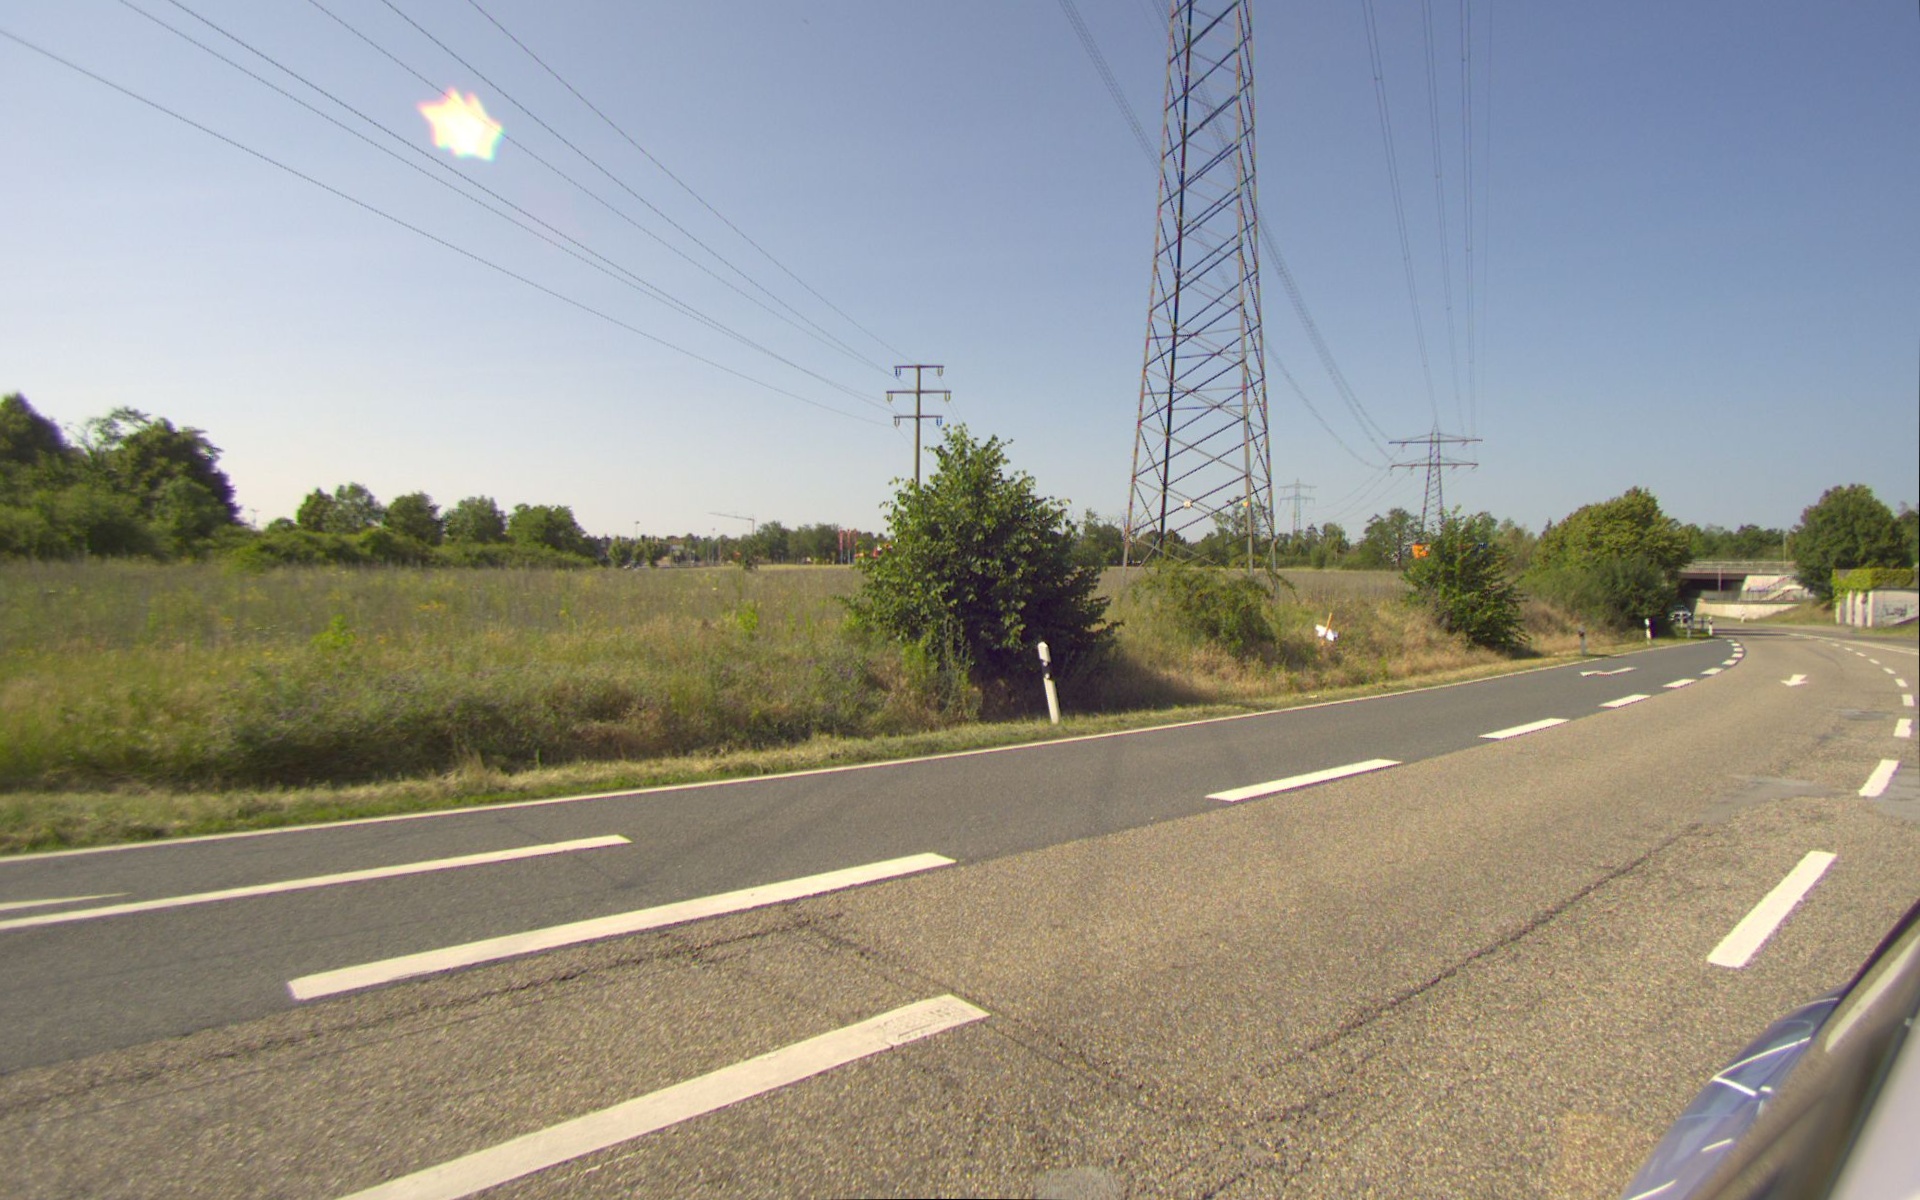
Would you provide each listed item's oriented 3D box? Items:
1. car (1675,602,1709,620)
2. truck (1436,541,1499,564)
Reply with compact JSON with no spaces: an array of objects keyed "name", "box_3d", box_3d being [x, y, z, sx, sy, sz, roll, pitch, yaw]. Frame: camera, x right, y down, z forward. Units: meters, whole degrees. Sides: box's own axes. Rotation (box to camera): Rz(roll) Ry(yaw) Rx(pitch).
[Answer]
[{"name":"car","box_3d":[67.102,0.995,92.844,1.842,1.640,3.615,1,0,25]},{"name":"truck","box_3d":[83.991,-7.856,167.871,2.116,3.224,11.306,0,0,-17]}]
